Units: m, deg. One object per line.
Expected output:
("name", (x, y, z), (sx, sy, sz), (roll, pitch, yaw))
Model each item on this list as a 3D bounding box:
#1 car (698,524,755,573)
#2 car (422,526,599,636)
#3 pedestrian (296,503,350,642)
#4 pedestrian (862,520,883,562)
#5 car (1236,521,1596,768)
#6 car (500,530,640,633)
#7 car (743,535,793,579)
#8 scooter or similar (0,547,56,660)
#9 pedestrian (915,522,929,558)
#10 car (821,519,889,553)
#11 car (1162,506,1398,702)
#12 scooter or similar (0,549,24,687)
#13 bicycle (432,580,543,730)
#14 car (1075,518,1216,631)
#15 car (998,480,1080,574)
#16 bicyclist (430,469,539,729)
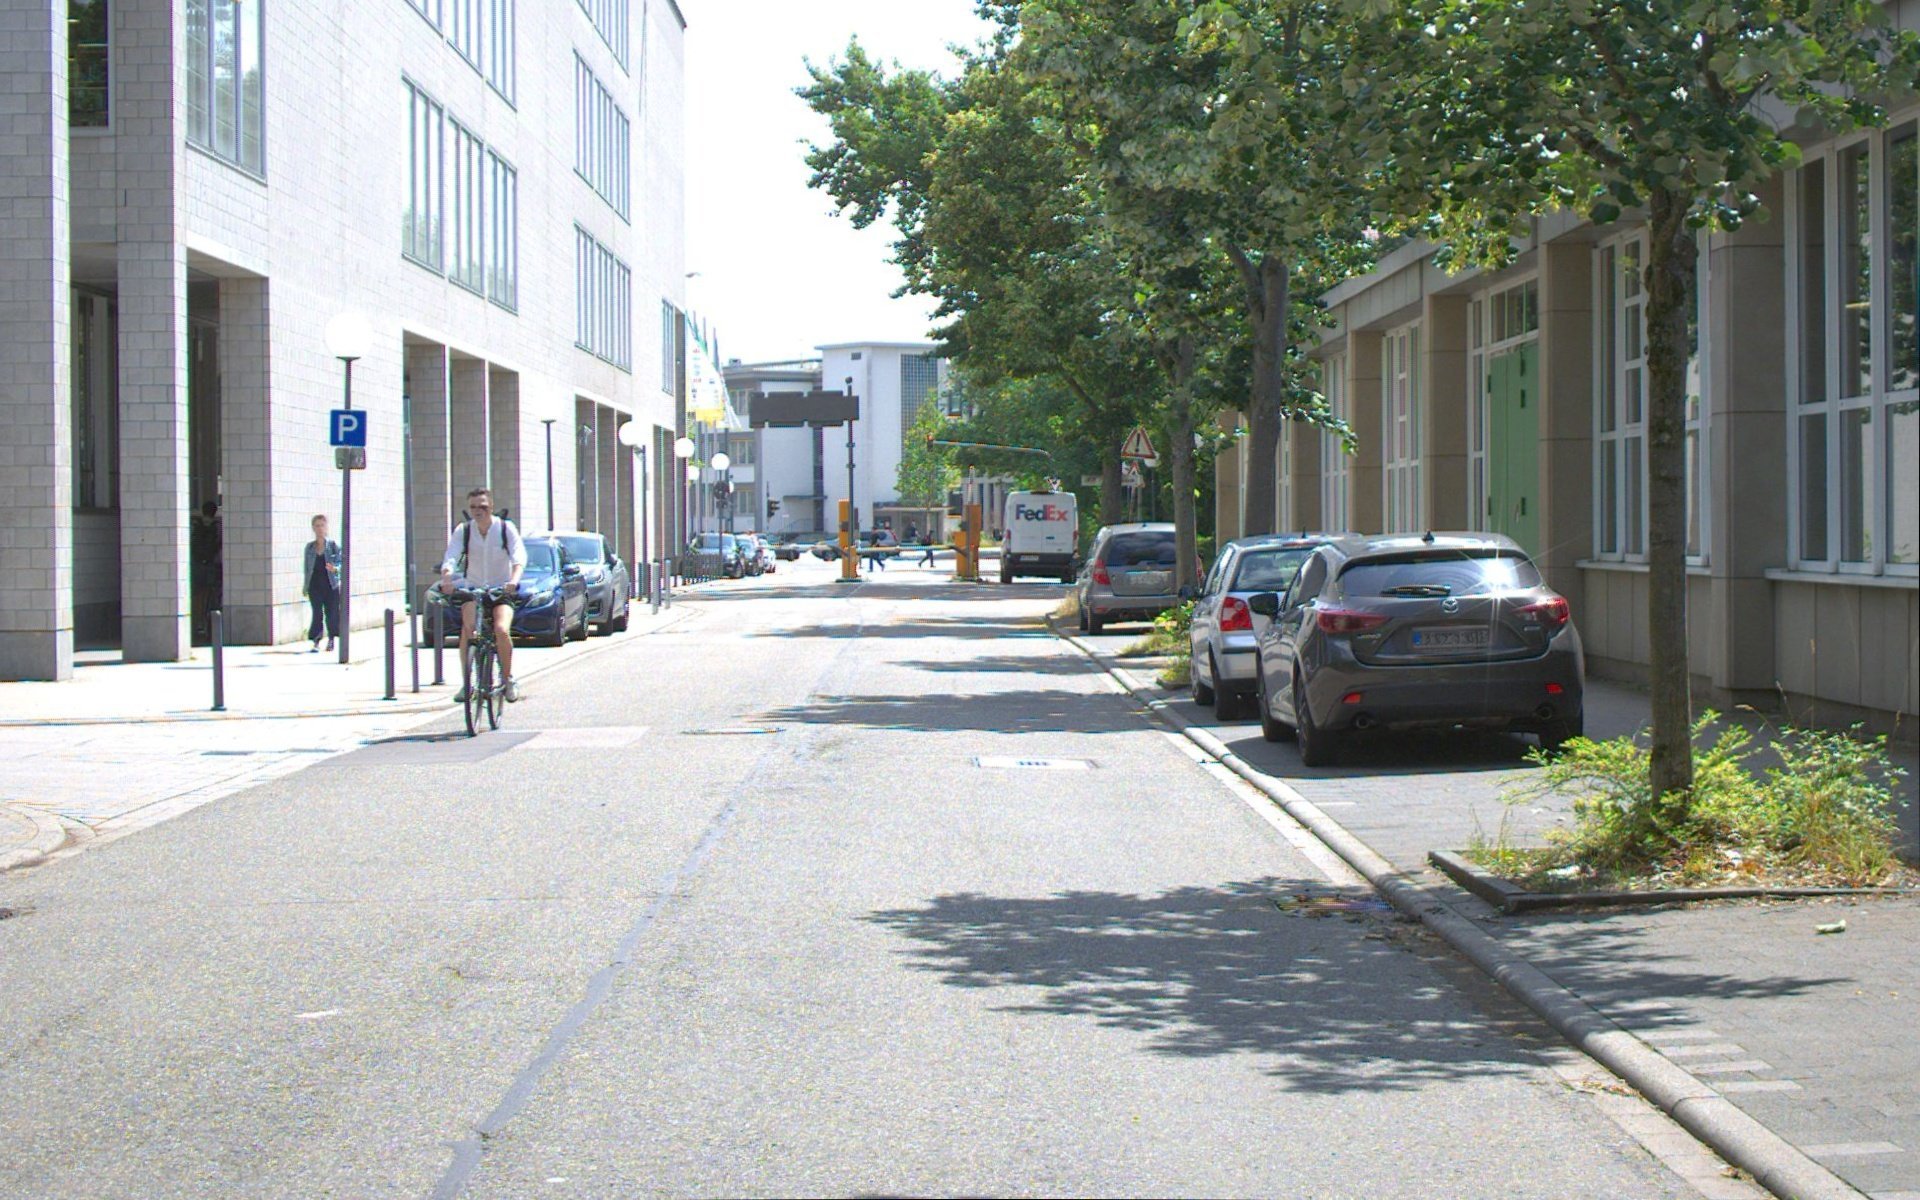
("car", (-7.599, -1.659, 112.094), (1.646, 1.493, 3.729), (0, -1, -1))
("car", (-6.046, -0.275, 46.665), (1.766, 1.423, 4.234), (0, 1, 1))
("pedestrian", (-7.886, -0.346, 42.542), (0.649, 1.695, 0.890), (0, 1, -11))
("pedestrian", (-3.524, -2.373, 138.272), (0.777, 1.673, 0.504), (1, 1, 0))
("car", (2.983, 0.227, 23.357), (1.780, 1.471, 4.462), (-2, 1, 0))
("car", (-5.856, -0.298, 52.029), (1.631, 1.479, 4.178), (0, 1, 0))
("car", (-6.911, -1.537, 123.907), (1.646, 1.493, 3.729), (0, -1, -1))
("scooter or similar", (-10.501, 0.021, 37.797), (0.525, 1.206, 1.557), (-1, 1, -38))
("pedestrian", (-1.703, -2.709, 154.390), (0.606, 1.614, 0.682), (1, 1, -1))
("car", (-5.440, -3.337, 179.044), (3.494, 1.691, 1.438), (1, 1, -1))
("car", (2.616, -0.006, 28.821), (1.616, 1.533, 3.780), (0, 1, 0))
("scooter or similar", (-8.738, 0.164, 30.333), (0.454, 1.219, 1.549), (0, 1, 3))
("bicycle", (-3.752, 0.418, 27.389), (0.685, 1.126, 1.889), (-1, 1, -2))
("car", (2.717, -0.407, 51.100), (1.858, 1.568, 4.000), (-1, 1, 0))
("car", (2.163, -2.021, 95.192), (2.083, 2.531, 4.316), (1, 1, -1))
("bicyclist", (-3.755, -0.017, 27.222), (0.711, 2.007, 1.019), (-1, 1, -3))
